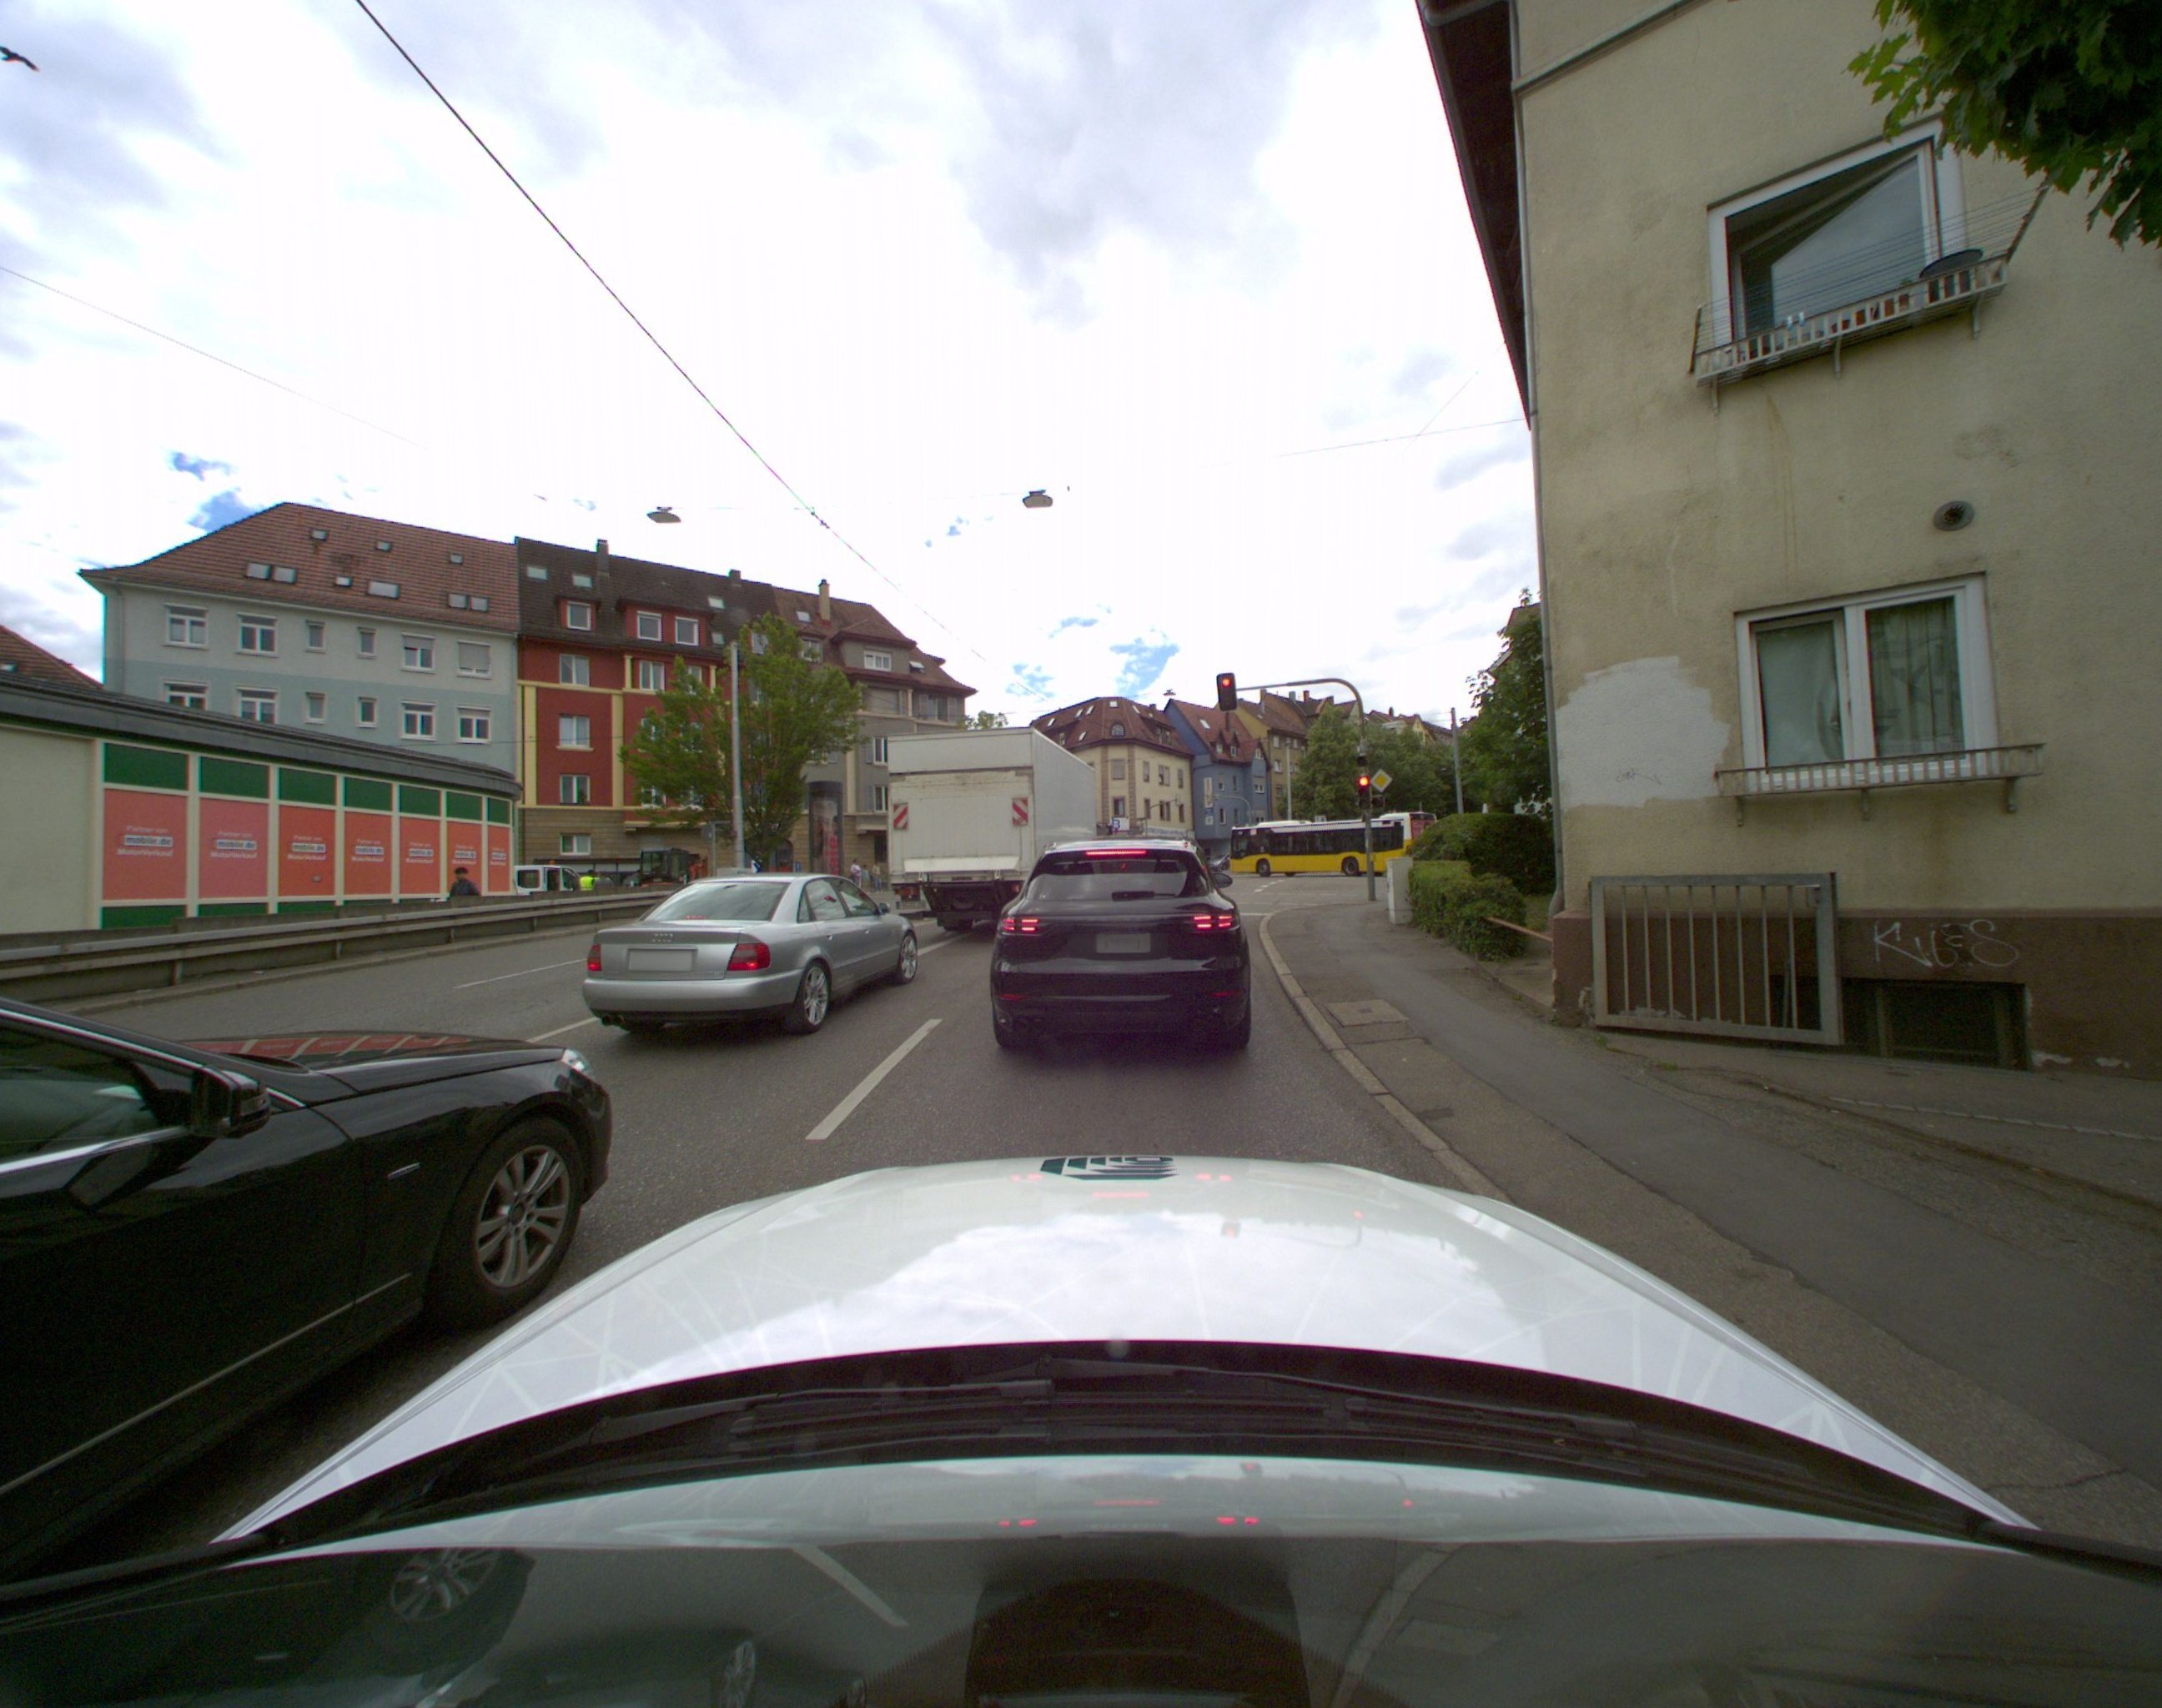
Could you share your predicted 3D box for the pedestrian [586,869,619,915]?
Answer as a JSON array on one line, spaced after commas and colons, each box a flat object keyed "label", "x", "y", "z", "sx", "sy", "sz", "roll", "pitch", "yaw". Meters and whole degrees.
[{"label": "pedestrian", "x": -14.659, "y": 1.166, "z": 24.952, "sx": 0.594, "sy": 1.363, "sz": 0.630, "roll": -2, "pitch": 0, "yaw": 35}]

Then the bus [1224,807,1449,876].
[{"label": "bus", "x": 13.199, "y": -0.500, "z": 43.873, "sx": 3.181, "sy": 3.096, "sz": 12.018, "roll": -2, "pitch": -1, "yaw": -35}]

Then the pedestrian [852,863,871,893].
[{"label": "pedestrian", "x": -10.077, "y": 1.092, "z": 37.444, "sx": 0.569, "sy": 1.338, "sz": 0.587, "roll": -2, "pitch": 0, "yaw": 44}]

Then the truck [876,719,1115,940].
[{"label": "truck", "x": -1.271, "y": -0.394, "z": 17.536, "sx": 2.708, "sy": 3.544, "sz": 8.446, "roll": -2, "pitch": 0, "yaw": 10}]

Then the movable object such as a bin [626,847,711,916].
[{"label": "movable object such as a bin", "x": -13.142, "y": 0.841, "z": 26.151, "sx": 1.375, "sy": 2.013, "sz": 3.524, "roll": -2, "pitch": 0, "yaw": -10}]

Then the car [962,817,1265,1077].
[{"label": "car", "x": 0.395, "y": 0.622, "z": 7.721, "sx": 2.022, "sy": 1.723, "sz": 4.506, "roll": 0, "pitch": 0, "yaw": 5}]

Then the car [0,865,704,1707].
[{"label": "car", "x": -2.865, "y": 0.804, "z": 1.415, "sx": 1.986, "sy": 1.429, "sz": 4.844, "roll": -2, "pitch": 0, "yaw": 2}]

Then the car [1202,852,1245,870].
[{"label": "car", "x": 12.438, "y": 0.601, "z": 70.995, "sx": 1.700, "sy": 1.477, "sz": 4.244, "roll": -2, "pitch": -3, "yaw": 42}]

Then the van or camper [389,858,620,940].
[{"label": "van or camper", "x": -18.983, "y": 1.384, "z": 27.261, "sx": 6.028, "sy": 2.338, "sz": 2.661, "roll": -1, "pitch": 0, "yaw": -33}]

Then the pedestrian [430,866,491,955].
[{"label": "pedestrian", "x": -11.949, "y": 1.059, "z": 15.708, "sx": 0.690, "sy": 1.637, "sz": 0.774, "roll": -2, "pitch": 0, "yaw": -19}]

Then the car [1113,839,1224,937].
[{"label": "car", "x": 1.709, "y": 0.562, "z": 14.866, "sx": 1.638, "sy": 1.556, "sz": 3.595, "roll": -1, "pitch": -1, "yaw": 12}]

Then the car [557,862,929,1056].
[{"label": "car", "x": -2.956, "y": 0.819, "z": 8.203, "sx": 1.620, "sy": 1.365, "sz": 4.135, "roll": -2, "pitch": 0, "yaw": 6}]

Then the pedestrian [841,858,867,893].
[{"label": "pedestrian", "x": -10.223, "y": 0.951, "z": 36.660, "sx": 0.785, "sy": 1.546, "sz": 0.743, "roll": -2, "pitch": 0, "yaw": 28}]

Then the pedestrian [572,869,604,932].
[{"label": "pedestrian", "x": -16.279, "y": 1.514, "z": 26.890, "sx": 0.830, "sy": 2.013, "sz": 0.673, "roll": -1, "pitch": 0, "yaw": -35}]

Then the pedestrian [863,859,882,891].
[{"label": "pedestrian", "x": -9.689, "y": 0.974, "z": 37.929, "sx": 0.657, "sy": 1.487, "sz": 0.517, "roll": -2, "pitch": 0, "yaw": -40}]
